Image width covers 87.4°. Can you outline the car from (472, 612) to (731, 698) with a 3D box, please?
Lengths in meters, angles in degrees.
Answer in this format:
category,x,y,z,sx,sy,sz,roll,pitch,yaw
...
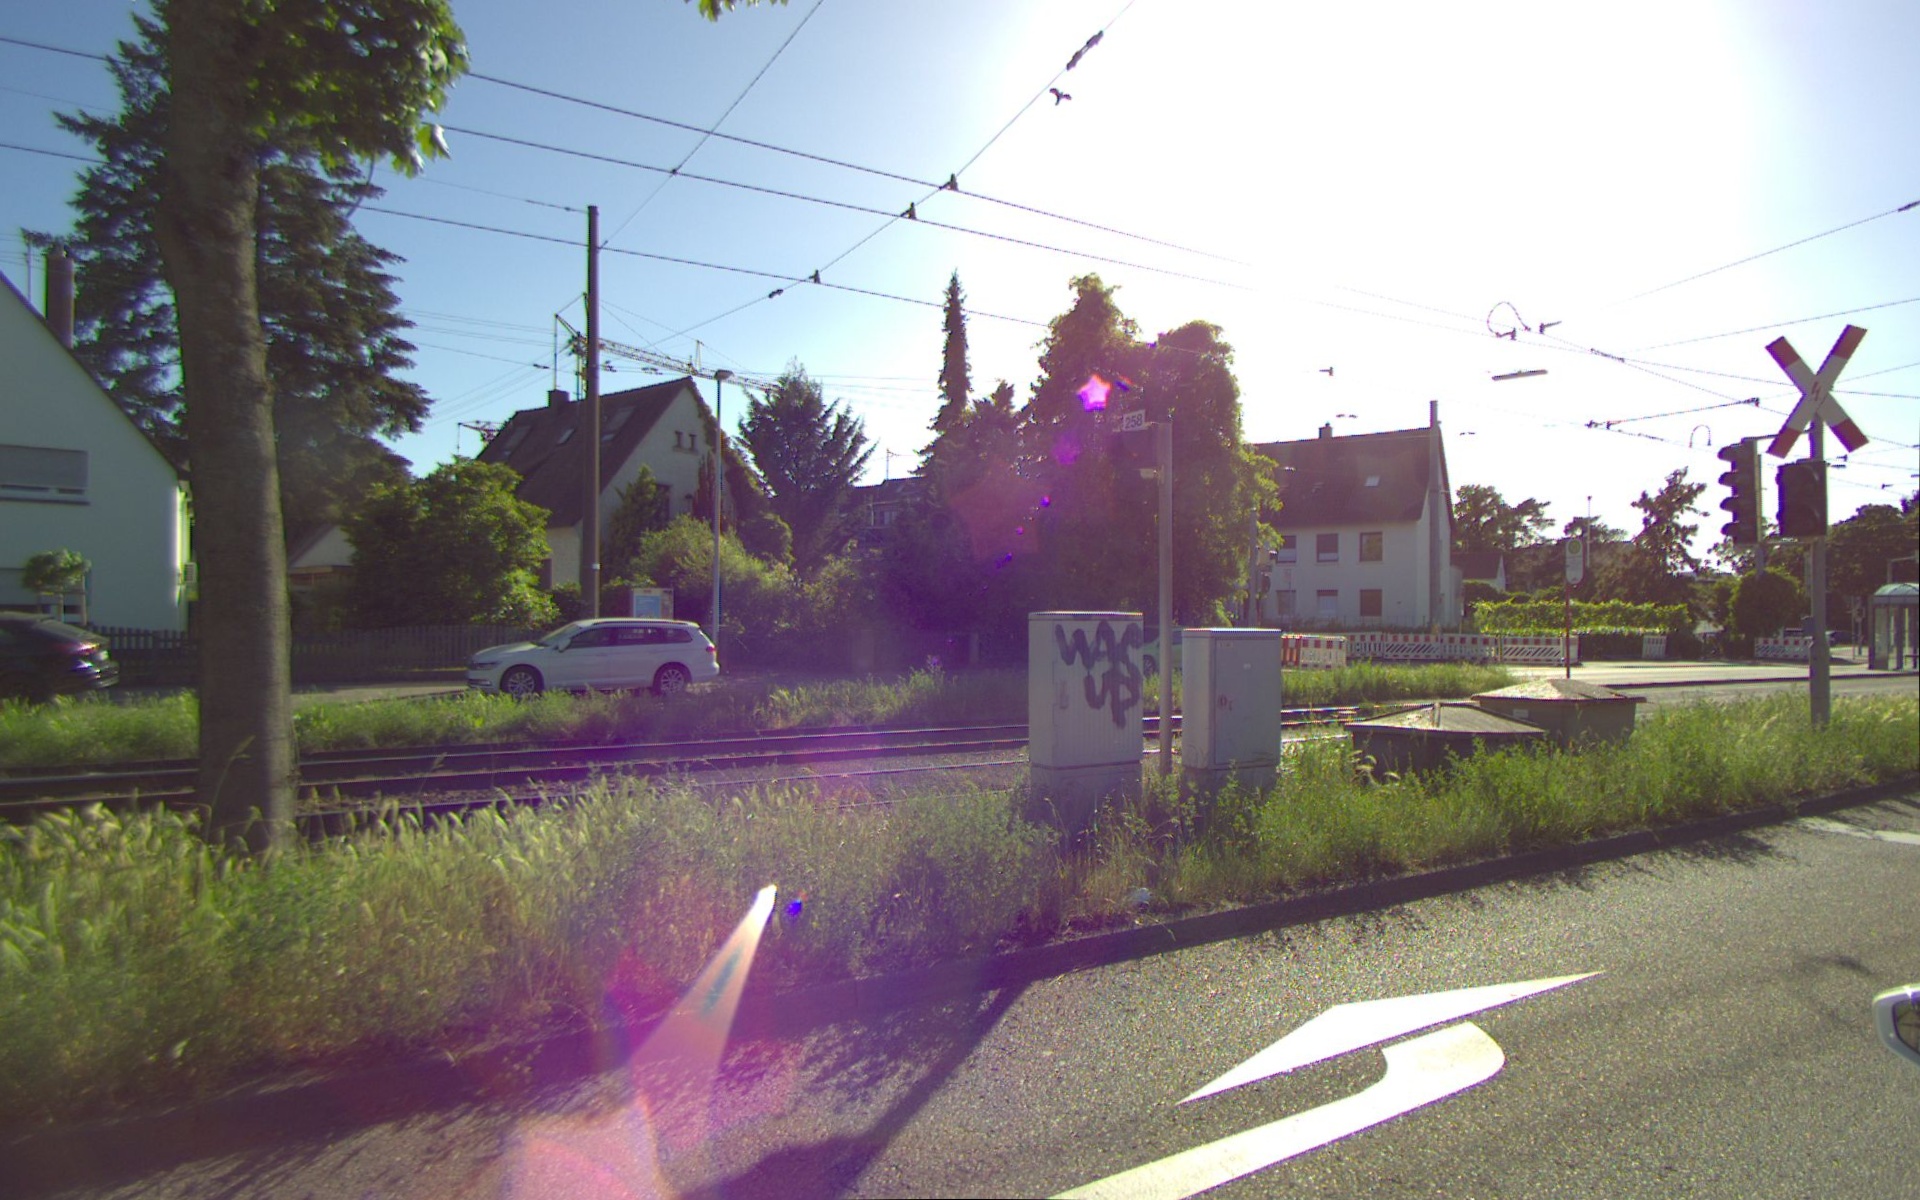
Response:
category,x,y,z,sx,sy,sz,roll,pitch,yaw
car,-7.075,1.055,19.981,4.563,1.492,1.874,2,0,-32

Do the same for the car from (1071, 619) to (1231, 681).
category,x,y,z,sx,sy,sz,roll,pitch,yaw
car,5.256,1.348,27.529,4.023,1.521,1.983,2,0,-32

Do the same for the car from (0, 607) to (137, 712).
category,x,y,z,sx,sy,sz,roll,pitch,yaw
car,-15.335,0.851,15.005,4.389,1.485,1.898,2,0,-30
